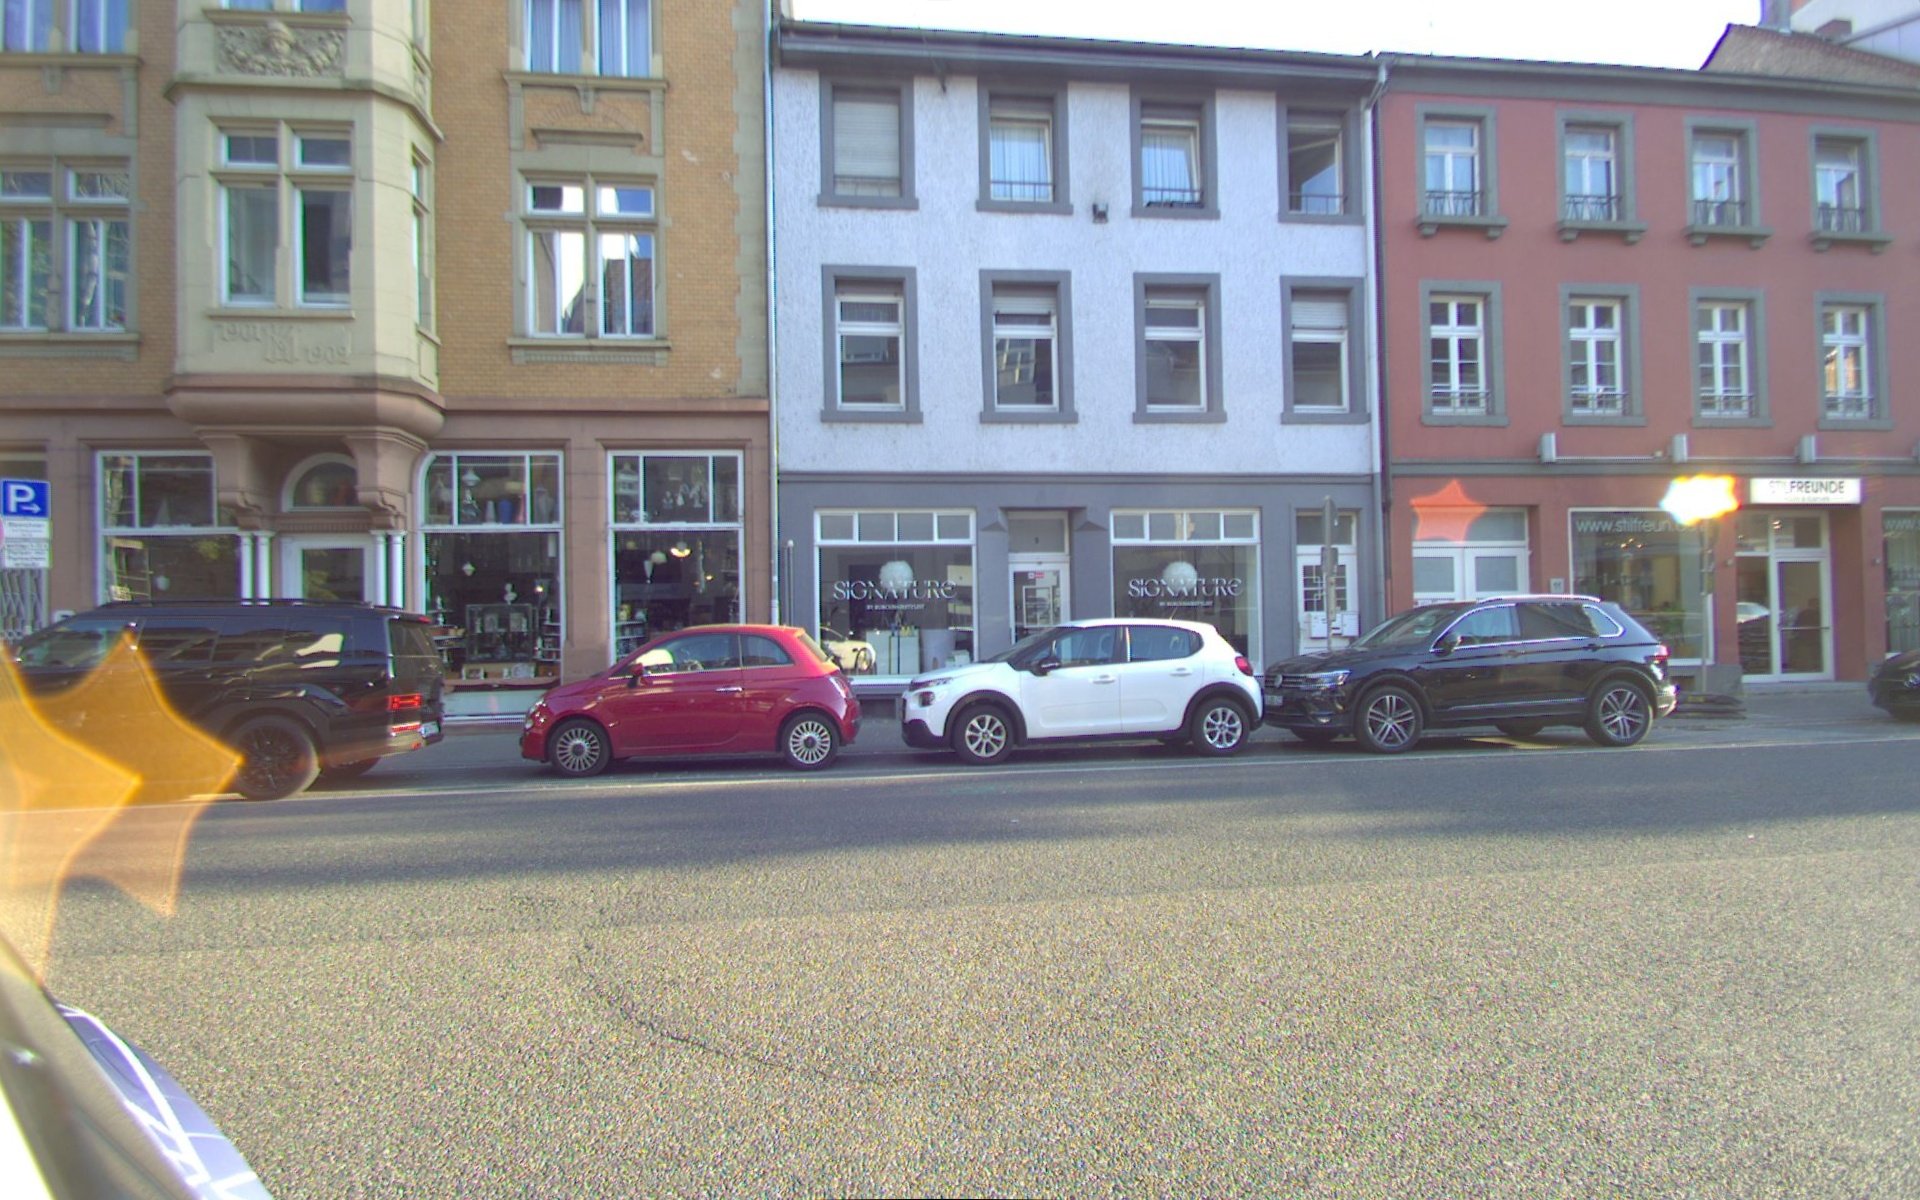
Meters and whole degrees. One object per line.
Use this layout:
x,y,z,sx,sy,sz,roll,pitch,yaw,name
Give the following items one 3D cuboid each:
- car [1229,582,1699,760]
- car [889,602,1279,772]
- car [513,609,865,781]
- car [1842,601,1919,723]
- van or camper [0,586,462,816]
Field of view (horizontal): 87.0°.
5.543,0.769,11.420,4.389,1.711,1.803,-1,-4,-8,car
1.232,0.910,11.077,3.873,1.585,1.669,-1,-3,-7,car
-2.730,0.957,10.705,3.369,1.582,1.532,-1,-3,-6,car
13.881,0.711,12.711,4.340,1.499,1.693,-1,-4,-8,car
-7.194,0.865,9.291,4.386,1.821,1.900,-1,-3,-13,van or camper
